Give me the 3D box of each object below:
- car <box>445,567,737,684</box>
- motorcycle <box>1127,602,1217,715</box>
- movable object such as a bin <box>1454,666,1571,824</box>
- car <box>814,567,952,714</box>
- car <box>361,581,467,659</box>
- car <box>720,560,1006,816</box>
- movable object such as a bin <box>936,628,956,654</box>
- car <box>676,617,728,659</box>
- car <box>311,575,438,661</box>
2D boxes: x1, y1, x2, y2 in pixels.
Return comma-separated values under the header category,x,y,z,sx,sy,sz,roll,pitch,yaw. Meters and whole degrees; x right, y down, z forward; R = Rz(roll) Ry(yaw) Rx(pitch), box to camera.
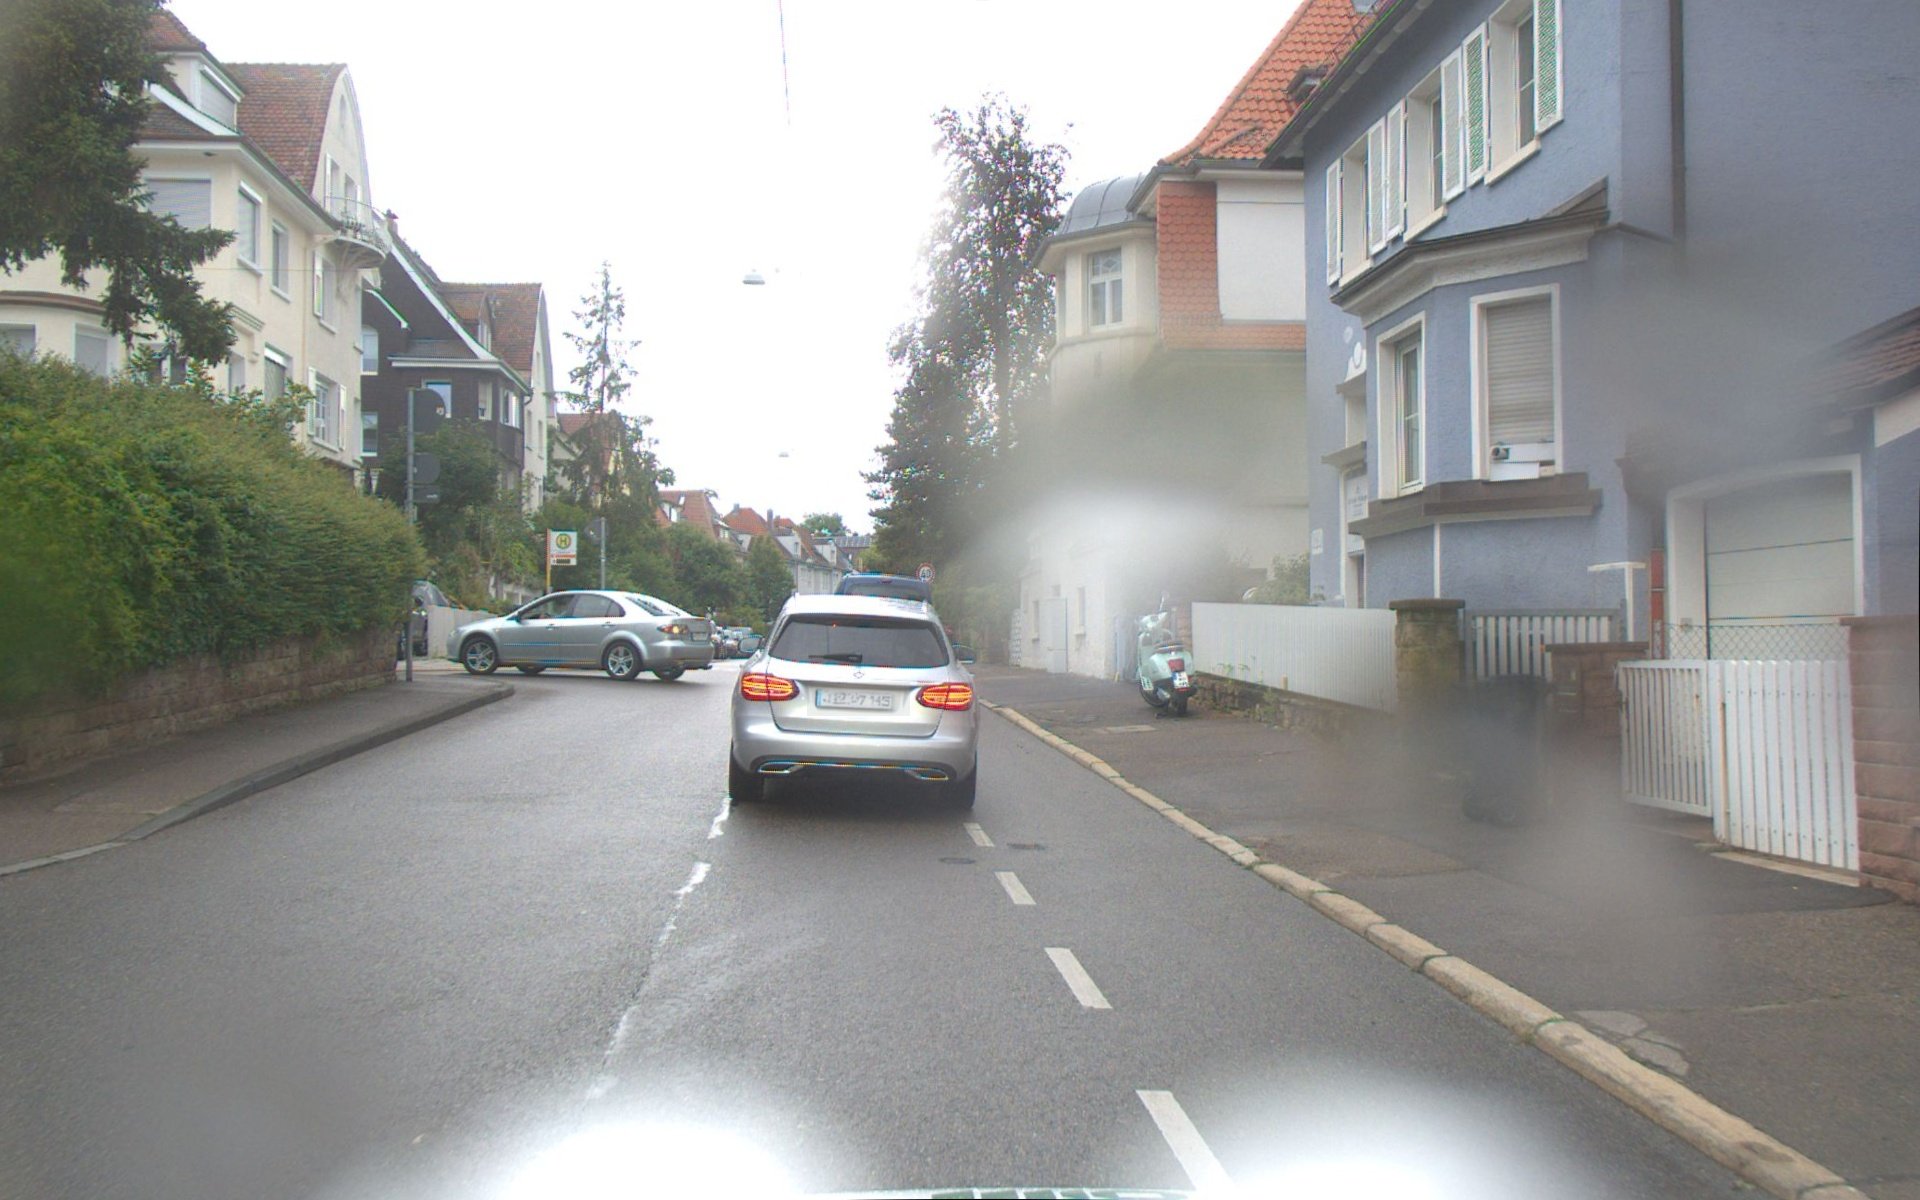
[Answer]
category,x,y,z,sx,sy,sz,roll,pitch,yaw
car,-6.050,0.413,27.163,4.275,1.583,1.822,4,-1,19
motorcycle,2.578,0.684,20.336,0.679,1.247,2.153,-6,0,-1
movable object such as a bin,3.520,0.912,10.557,0.522,0.934,0.487,-2,0,-7
car,-1.138,0.635,24.232,1.806,1.937,3.997,1,-3,-3
car,-12.906,0.453,39.293,1.733,1.726,3.991,1,0,-9
car,-0.768,0.576,12.517,1.781,1.584,3.996,2,0,-5
movable object such as a bin,-0.489,1.431,57.687,0.638,0.870,0.502,1,0,-7
car,-10.685,1.585,68.659,1.857,1.651,4.373,1,-2,-6
car,-12.006,0.349,34.135,1.733,1.646,3.991,1,0,-9
